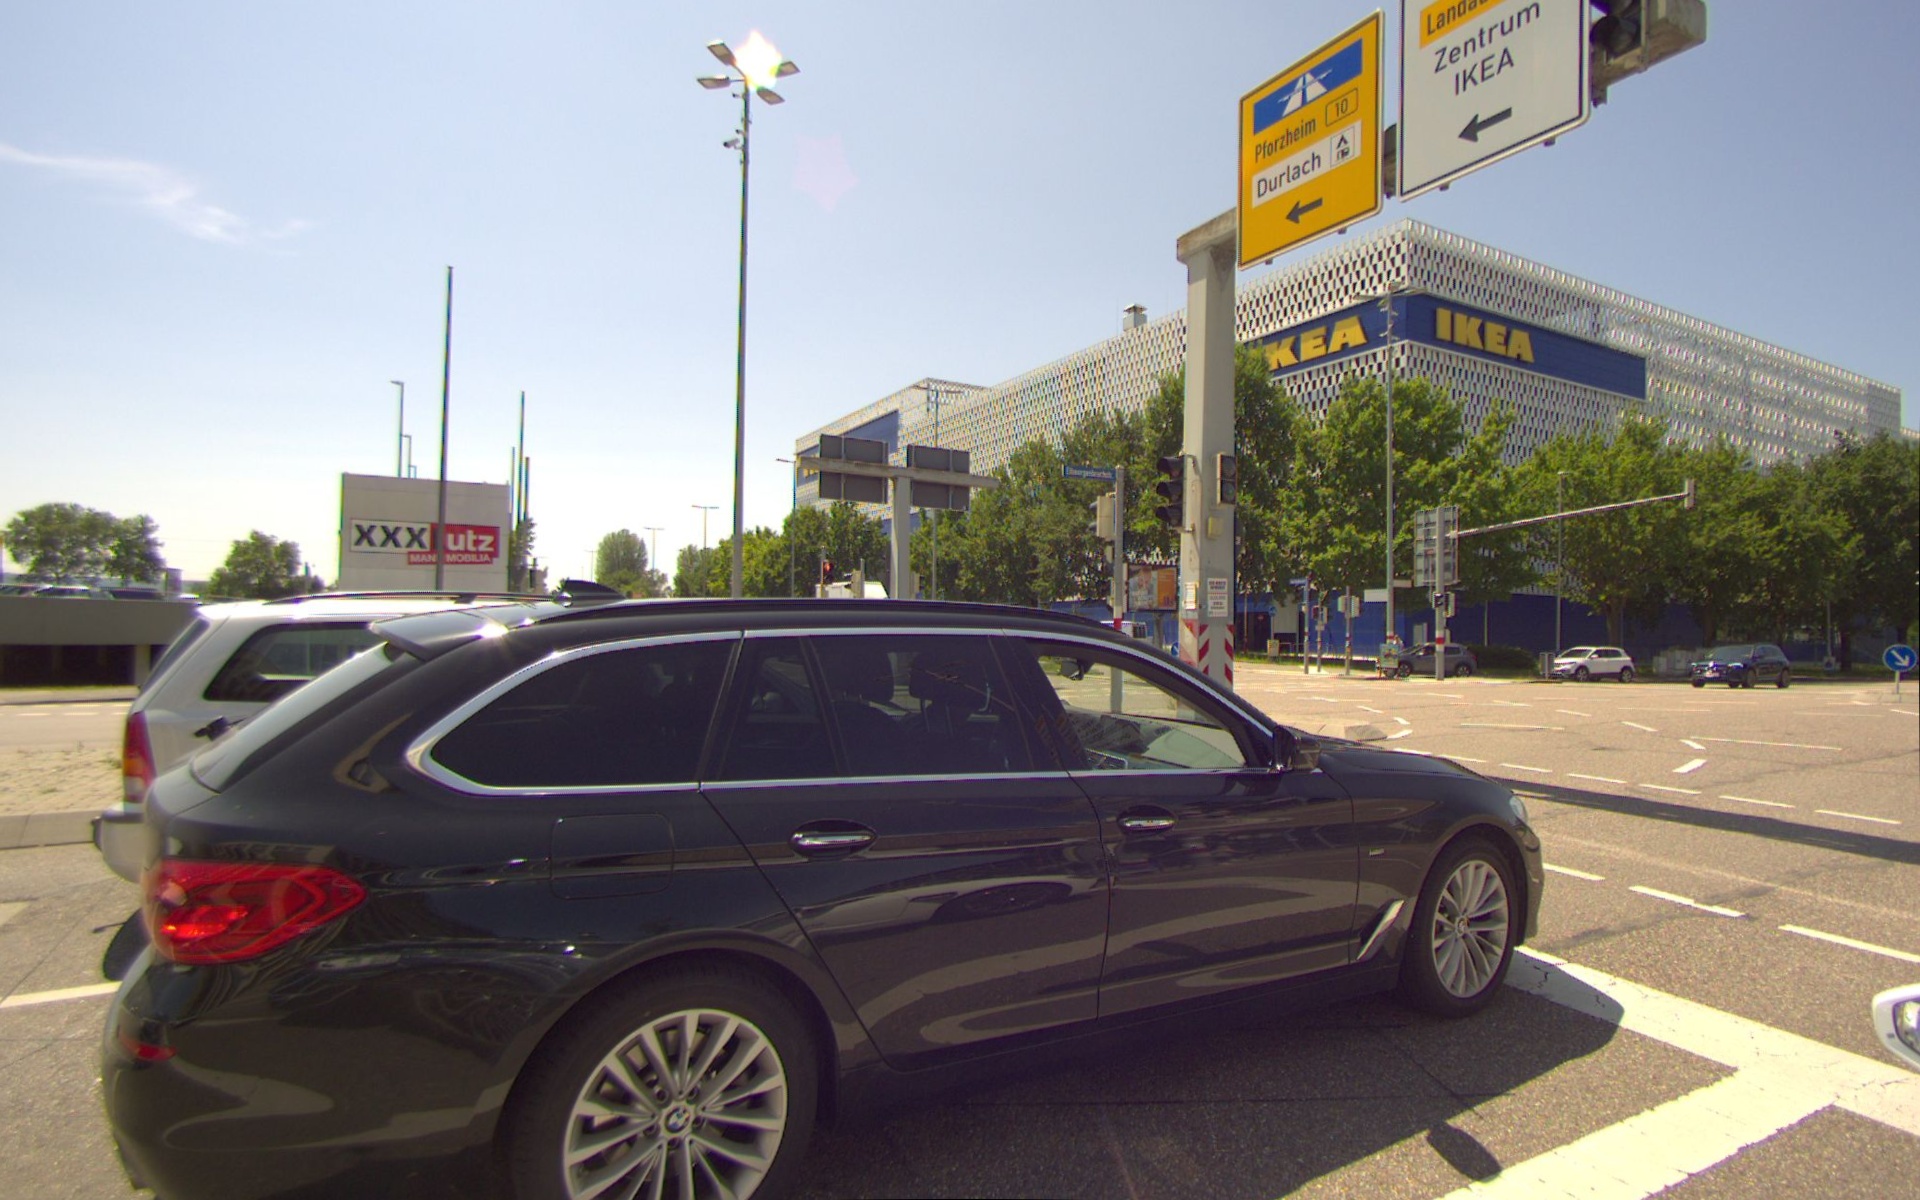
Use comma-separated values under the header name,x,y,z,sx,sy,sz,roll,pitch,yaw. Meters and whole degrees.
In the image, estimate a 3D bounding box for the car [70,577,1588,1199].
name,x,y,z,sx,sy,sz,roll,pitch,yaw
car,0.082,0.757,3.571,4.570,1.485,1.791,1,-1,-31

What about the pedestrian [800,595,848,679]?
name,x,y,z,sx,sy,sz,roll,pitch,yaw
pedestrian,-3.363,0.922,24.903,0.856,2.040,0.899,1,-2,-35

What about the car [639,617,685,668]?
name,x,y,z,sx,sy,sz,roll,pitch,yaw
car,-12.426,1.731,41.802,1.594,2.040,3.863,1,-2,-20

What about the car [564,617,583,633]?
name,x,y,z,sx,sy,sz,roll,pitch,yaw
car,-69.633,4.489,181.062,2.877,2.724,6.126,2,-2,-24

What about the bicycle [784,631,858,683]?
name,x,y,z,sx,sy,sz,roll,pitch,yaw
bicycle,-3.497,1.390,25.089,0.987,1.229,2.079,2,-2,-35

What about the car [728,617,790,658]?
name,x,y,z,sx,sy,sz,roll,pitch,yaw
car,-10.633,1.970,52.988,1.975,2.040,4.681,2,-2,-27

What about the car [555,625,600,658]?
name,x,y,z,sx,sy,sz,roll,pitch,yaw
car,-24.063,2.588,63.095,1.815,2.040,3.963,2,-2,-34

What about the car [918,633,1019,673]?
name,x,y,z,sx,sy,sz,roll,pitch,yaw
car,0.237,1.889,36.658,1.756,1.360,4.262,1,-2,-30

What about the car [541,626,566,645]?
name,x,y,z,sx,sy,sz,roll,pitch,yaw
car,-36.495,3.163,90.094,1.718,1.708,3.642,2,-2,-28

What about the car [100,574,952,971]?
name,x,y,z,sx,sy,sz,roll,pitch,yaw
car,-2.176,0.714,5.737,3.961,1.514,1.785,2,-1,-36

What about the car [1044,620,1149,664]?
name,x,y,z,sx,sy,sz,roll,pitch,yaw
car,6.653,2.046,49.024,4.681,2.034,1.996,-1,-3,32

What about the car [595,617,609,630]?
name,x,y,z,sx,sy,sz,roll,pitch,yaw
car,-59.476,3.964,166.649,1.971,2.040,3.979,2,-2,-22

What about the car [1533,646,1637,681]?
name,x,y,z,sx,sy,sz,roll,pitch,yaw
car,27.612,2.795,44.385,4.003,1.476,1.622,2,-2,-16

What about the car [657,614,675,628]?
name,x,y,z,sx,sy,sz,roll,pitch,yaw
car,-46.495,3.307,158.609,1.974,2.040,3.972,2,-1,-27

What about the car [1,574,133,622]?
name,x,y,z,sx,sy,sz,roll,pitch,yaw
car,-39.281,-0.048,44.303,3.953,1.957,1.984,2,-2,-30

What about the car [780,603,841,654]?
name,x,y,z,sx,sy,sz,roll,pitch,yaw
car,-8.249,1.570,55.136,2.032,2.665,4.652,0,-2,-26

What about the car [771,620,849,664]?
name,x,y,z,sx,sy,sz,roll,pitch,yaw
car,-6.796,1.855,45.011,1.973,1.835,5.438,1,-2,-25

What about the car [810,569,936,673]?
name,x,y,z,sx,sy,sz,roll,pitch,yaw
car,-3.410,0.784,37.525,2.156,3.532,6.875,0,-1,-28

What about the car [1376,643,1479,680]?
name,x,y,z,sx,sy,sz,roll,pitch,yaw
car,20.277,2.656,43.725,3.678,1.553,1.777,0,-2,5

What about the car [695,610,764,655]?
name,x,y,z,sx,sy,sz,roll,pitch,yaw
car,-13.863,1.949,60.022,2.542,2.568,6.587,2,-2,-26

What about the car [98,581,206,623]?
name,x,y,z,sx,sy,sz,roll,pitch,yaw
car,-40.316,0.141,50.259,3.956,1.933,1.983,2,-2,-32

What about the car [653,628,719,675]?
name,x,y,z,sx,sy,sz,roll,pitch,yaw
car,-9.550,1.772,34.837,1.904,1.528,3.982,1,-2,-20

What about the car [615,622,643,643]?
name,x,y,z,sx,sy,sz,roll,pitch,yaw
car,-32.762,3.235,99.445,1.906,2.040,3.971,2,-2,-28

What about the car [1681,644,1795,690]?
name,x,y,z,sx,sy,sz,roll,pitch,yaw
car,29.180,2.481,37.657,4.444,1.619,1.866,2,-3,-30

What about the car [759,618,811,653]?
name,x,y,z,sx,sy,sz,roll,pitch,yaw
car,-10.548,2.128,60.358,1.974,2.014,3.974,2,-3,-26

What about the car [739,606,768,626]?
name,x,y,z,sx,sy,sz,roll,pitch,yaw
car,-21.261,1.675,103.408,1.729,1.884,3.969,2,-3,-30

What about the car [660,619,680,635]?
name,x,y,z,sx,sy,sz,roll,pitch,yaw
car,-39.304,3.639,136.048,1.974,2.040,3.973,2,-3,-27

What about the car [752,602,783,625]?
name,x,y,z,sx,sy,sz,roll,pitch,yaw
car,-17.991,1.268,93.702,1.972,2.040,3.978,2,-2,-23
